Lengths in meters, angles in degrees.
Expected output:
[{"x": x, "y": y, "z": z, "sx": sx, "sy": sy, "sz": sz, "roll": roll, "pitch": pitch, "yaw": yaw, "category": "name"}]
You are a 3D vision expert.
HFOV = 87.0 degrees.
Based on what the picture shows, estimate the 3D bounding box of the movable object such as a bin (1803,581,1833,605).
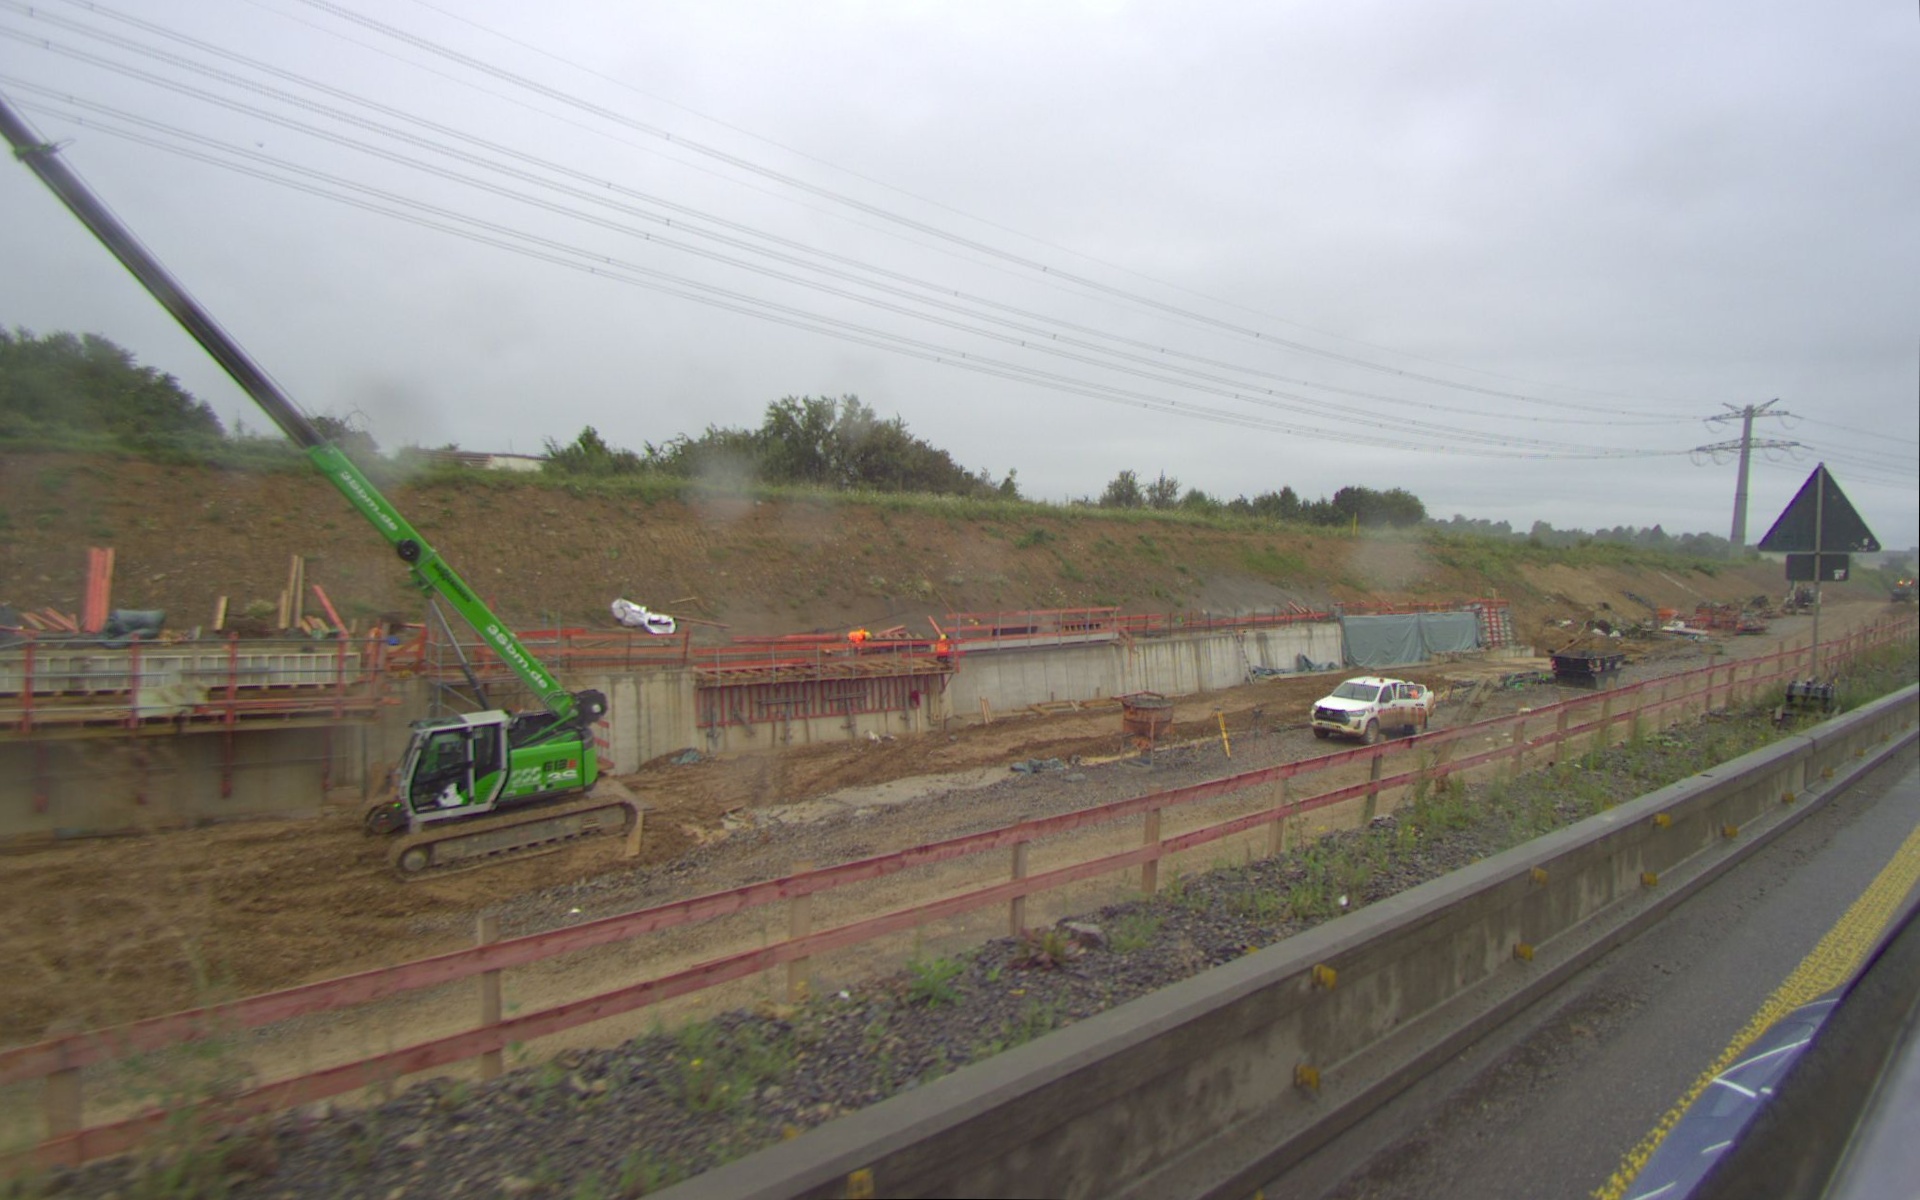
[{"x": 101.088, "y": -0.819, "z": 119.259, "sx": 3.933, "sy": 2.753, "sz": 2.248, "roll": -1, "pitch": 1, "yaw": -43, "category": "movable object such as a bin"}]

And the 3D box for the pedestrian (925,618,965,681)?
[{"x": -0.562, "y": 1.842, "z": 37.672, "sx": 0.987, "sy": 2.260, "sz": 0.917, "roll": -2, "pitch": -3, "yaw": -36, "category": "pedestrian"}]

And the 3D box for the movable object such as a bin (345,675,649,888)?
[{"x": -9.671, "y": 3.502, "z": 21.185, "sx": 4.774, "sy": 2.836, "sz": 3.800, "roll": -7, "pitch": 6, "yaw": -40, "category": "movable object such as a bin"}]

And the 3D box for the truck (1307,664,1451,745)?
[{"x": 13.439, "y": 3.230, "z": 32.281, "sx": 5.684, "sy": 1.894, "sz": 1.766, "roll": -1, "pitch": 3, "yaw": -40, "category": "truck"}]

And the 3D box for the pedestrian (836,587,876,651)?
[{"x": -3.794, "y": 0.686, "z": 36.792, "sx": 0.989, "sy": 2.275, "sz": 0.915, "roll": -1, "pitch": -3, "yaw": -43, "category": "pedestrian"}]

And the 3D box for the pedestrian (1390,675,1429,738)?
[{"x": 14.165, "y": 3.350, "z": 31.887, "sx": 0.796, "sy": 1.821, "sz": 0.936, "roll": 1, "pitch": 2, "yaw": 4, "category": "pedestrian"}]
